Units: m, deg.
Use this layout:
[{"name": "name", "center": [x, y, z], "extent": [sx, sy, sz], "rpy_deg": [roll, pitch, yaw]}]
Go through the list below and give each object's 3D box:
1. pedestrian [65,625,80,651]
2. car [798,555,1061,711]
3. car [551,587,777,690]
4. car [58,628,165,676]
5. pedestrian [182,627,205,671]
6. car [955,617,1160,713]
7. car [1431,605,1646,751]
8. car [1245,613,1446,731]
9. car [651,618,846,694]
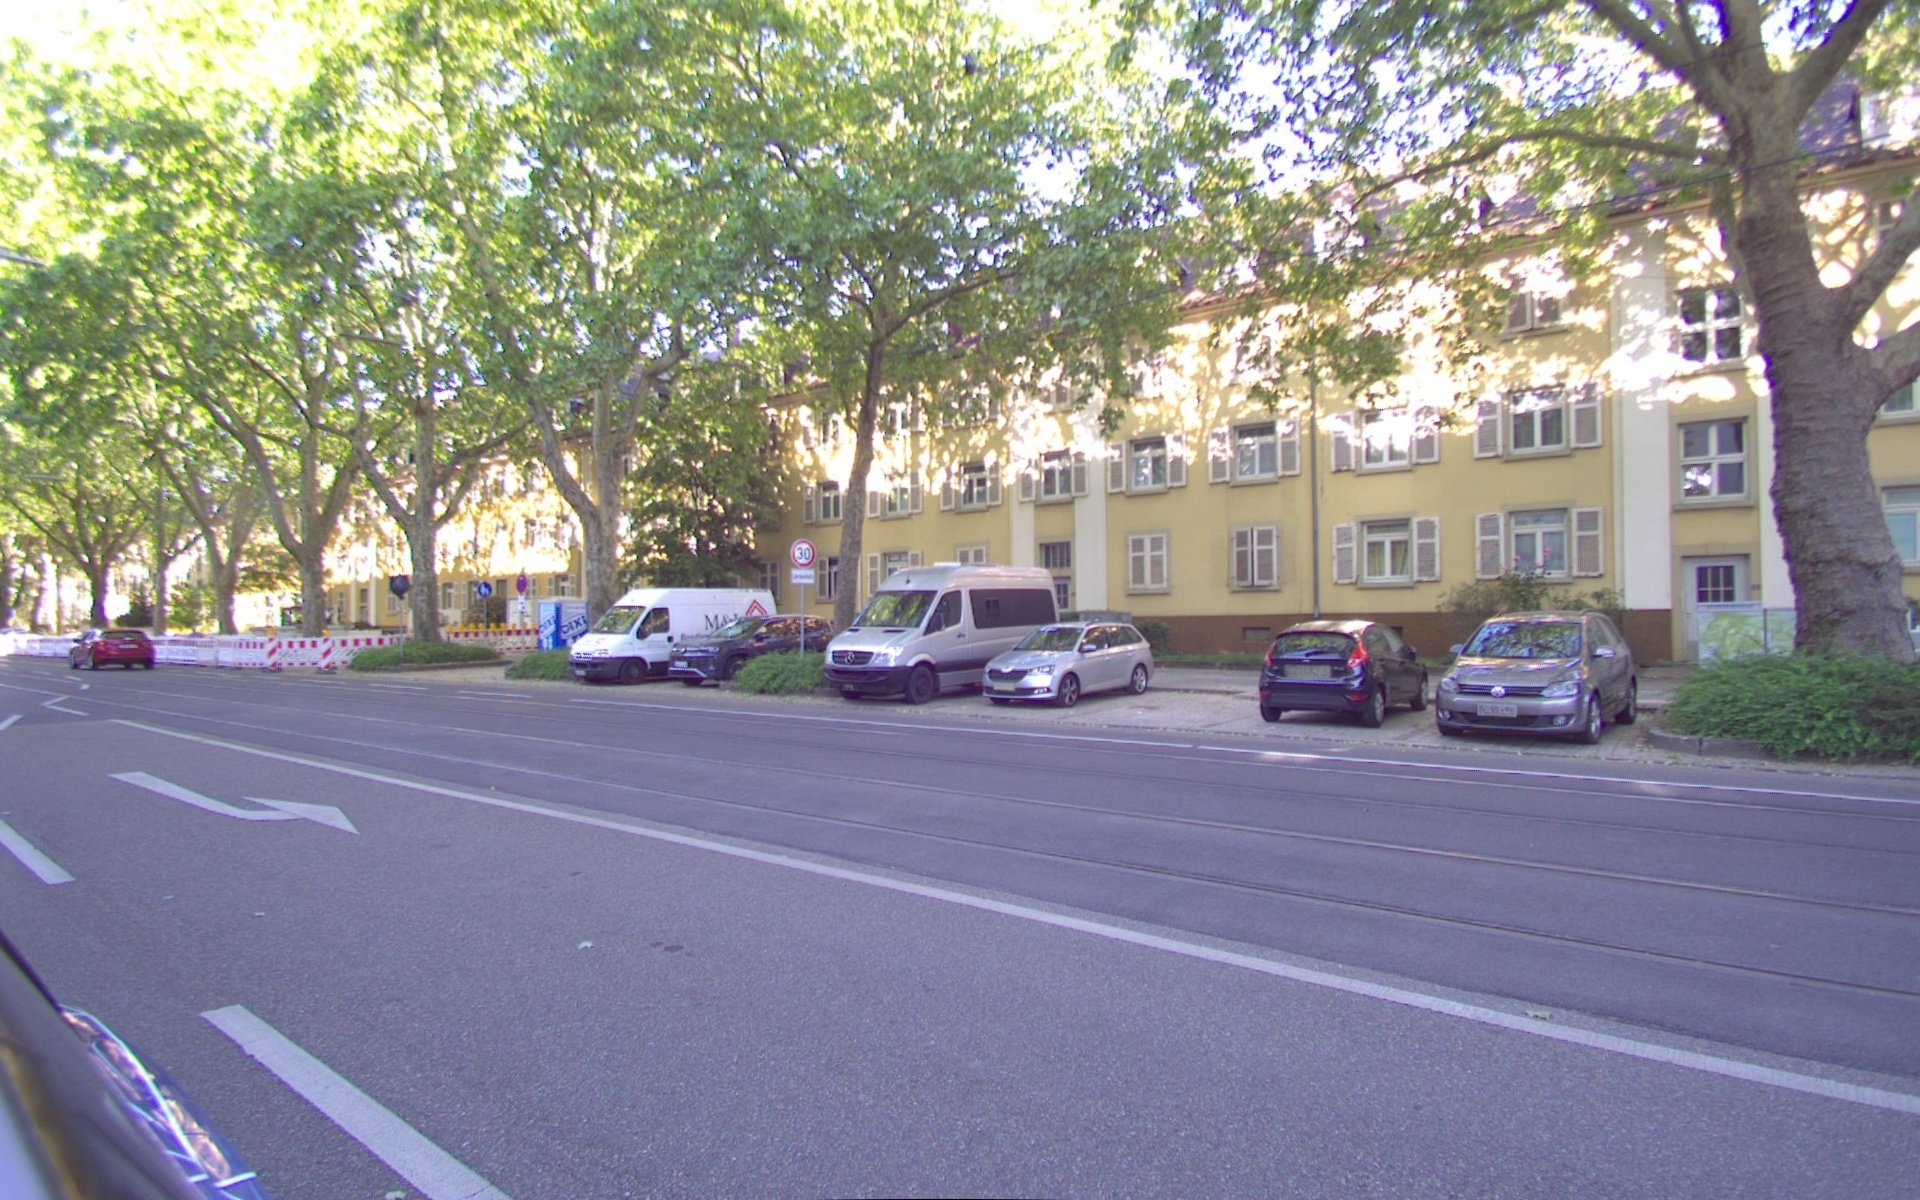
[{"name": "pedestrian", "center": [-66.235, 2.806, 75.522], "extent": [0.721, 1.900, 0.667], "rpy_deg": [-1, 0, -32]}, {"name": "car", "center": [-0.432, 0.607, 20.448], "extent": [2.221, 2.702, 5.596], "rpy_deg": [-2, -1, 38]}, {"name": "car", "center": [-7.566, 0.962, 26.374], "extent": [2.222, 2.394, 5.336], "rpy_deg": [-2, -2, 40]}, {"name": "car", "center": [-30.248, 1.804, 36.045], "extent": [4.484, 1.577, 1.997], "rpy_deg": [-2, -2, 37]}, {"name": "pedestrian", "center": [-31.003, 1.963, 40.917], "extent": [0.583, 1.759, 0.643], "rpy_deg": [-1, 0, 43]}, {"name": "car", "center": [1.907, 1.119, 18.836], "extent": [1.773, 1.509, 4.031], "rpy_deg": [-2, -1, 41]}, {"name": "car", "center": [7.738, 0.896, 13.368], "extent": [1.672, 1.592, 3.928], "rpy_deg": [-2, -1, 41]}, {"name": "car", "center": [5.961, 0.999, 15.419], "extent": [1.671, 1.509, 3.756], "rpy_deg": [-2, -1, 41]}, {"name": "car", "center": [-4.984, 1.274, 24.448], "extent": [1.772, 1.664, 4.570], "rpy_deg": [-2, -2, 38]}]
